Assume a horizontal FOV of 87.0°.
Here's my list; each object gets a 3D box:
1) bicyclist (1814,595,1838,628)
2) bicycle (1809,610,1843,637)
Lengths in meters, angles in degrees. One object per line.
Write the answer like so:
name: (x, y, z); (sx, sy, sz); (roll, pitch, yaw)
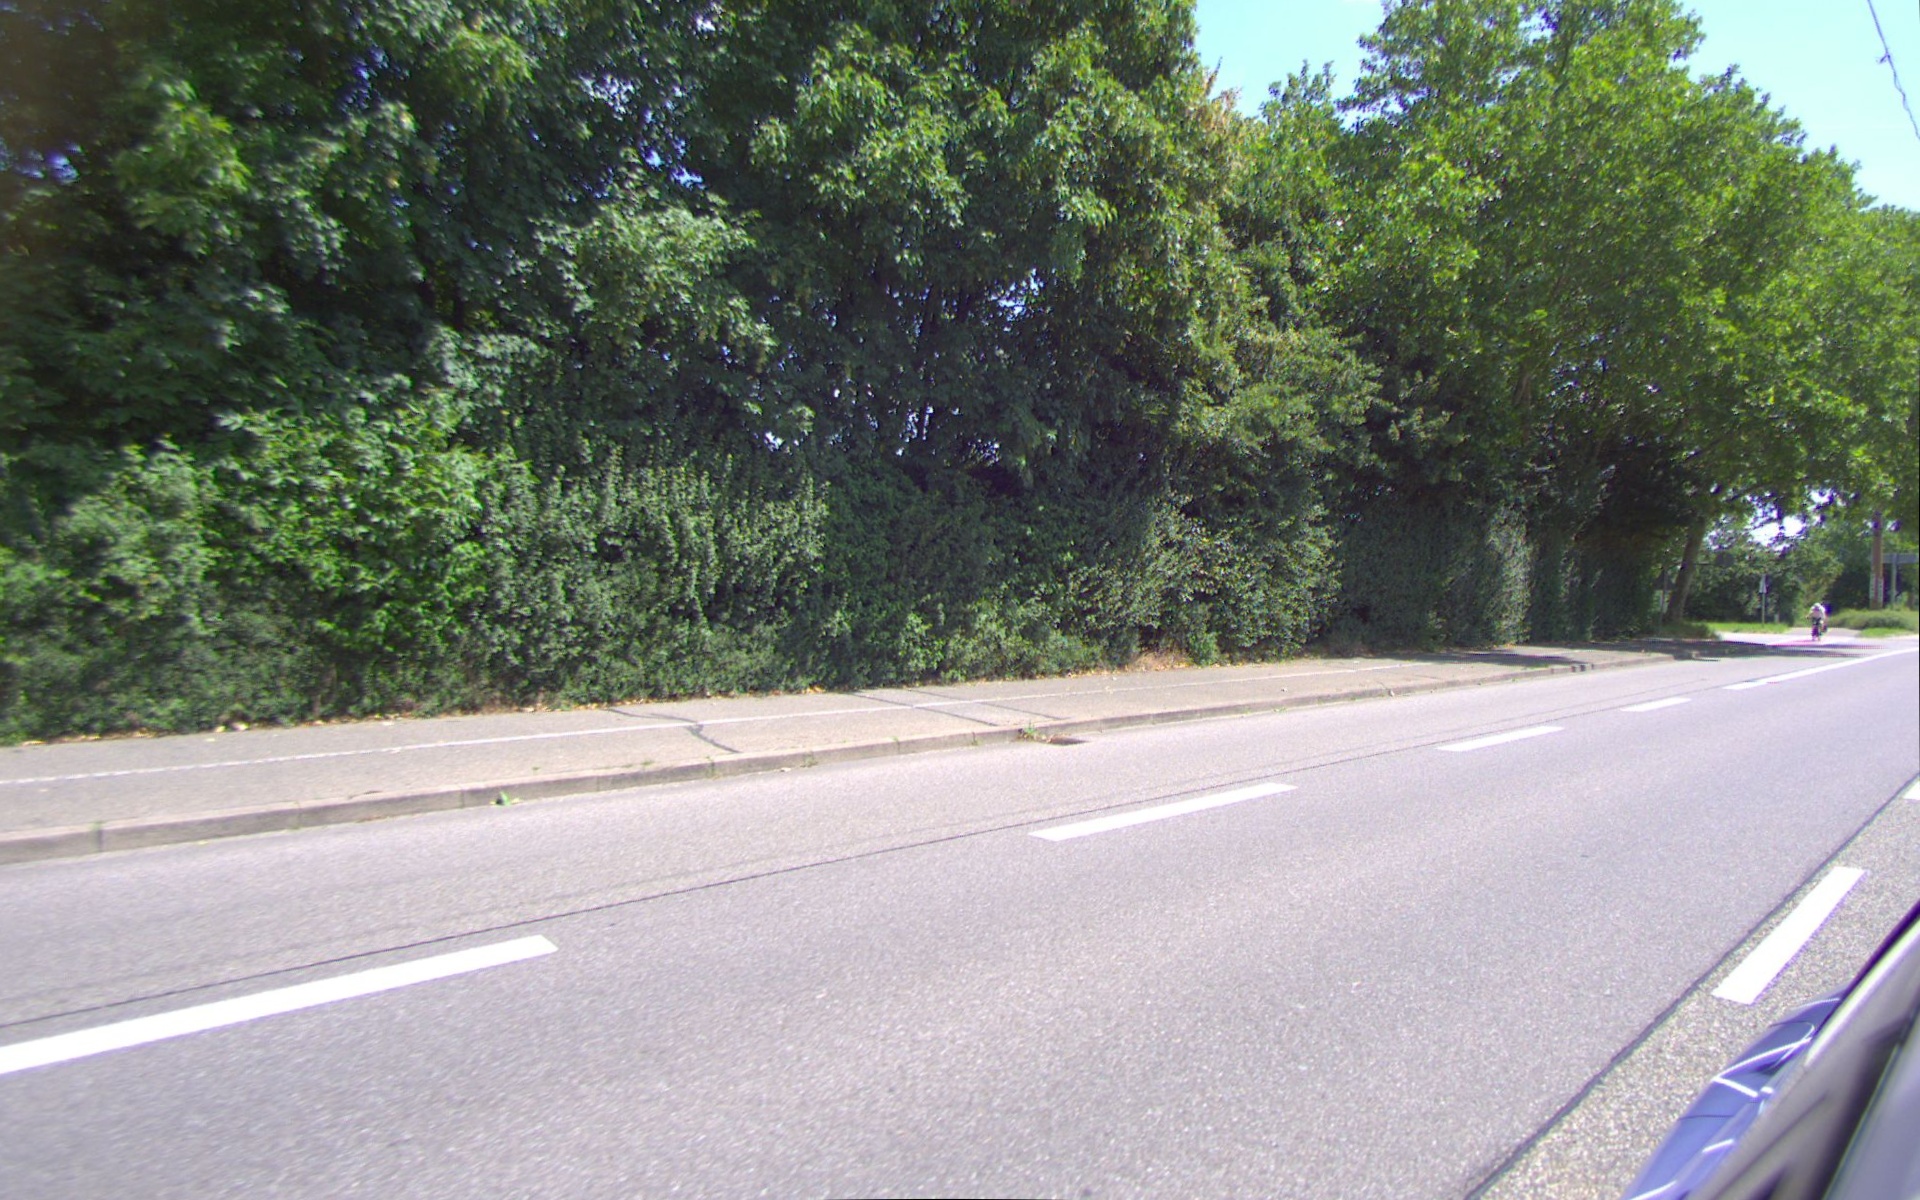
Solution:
bicyclist: (38.608, 0.506, 45.109); (0.629, 1.457, 0.704); (1, 1, -39)
bicycle: (38.573, 1.029, 45.080); (2.492, 1.152, 0.710); (0, 1, -39)
